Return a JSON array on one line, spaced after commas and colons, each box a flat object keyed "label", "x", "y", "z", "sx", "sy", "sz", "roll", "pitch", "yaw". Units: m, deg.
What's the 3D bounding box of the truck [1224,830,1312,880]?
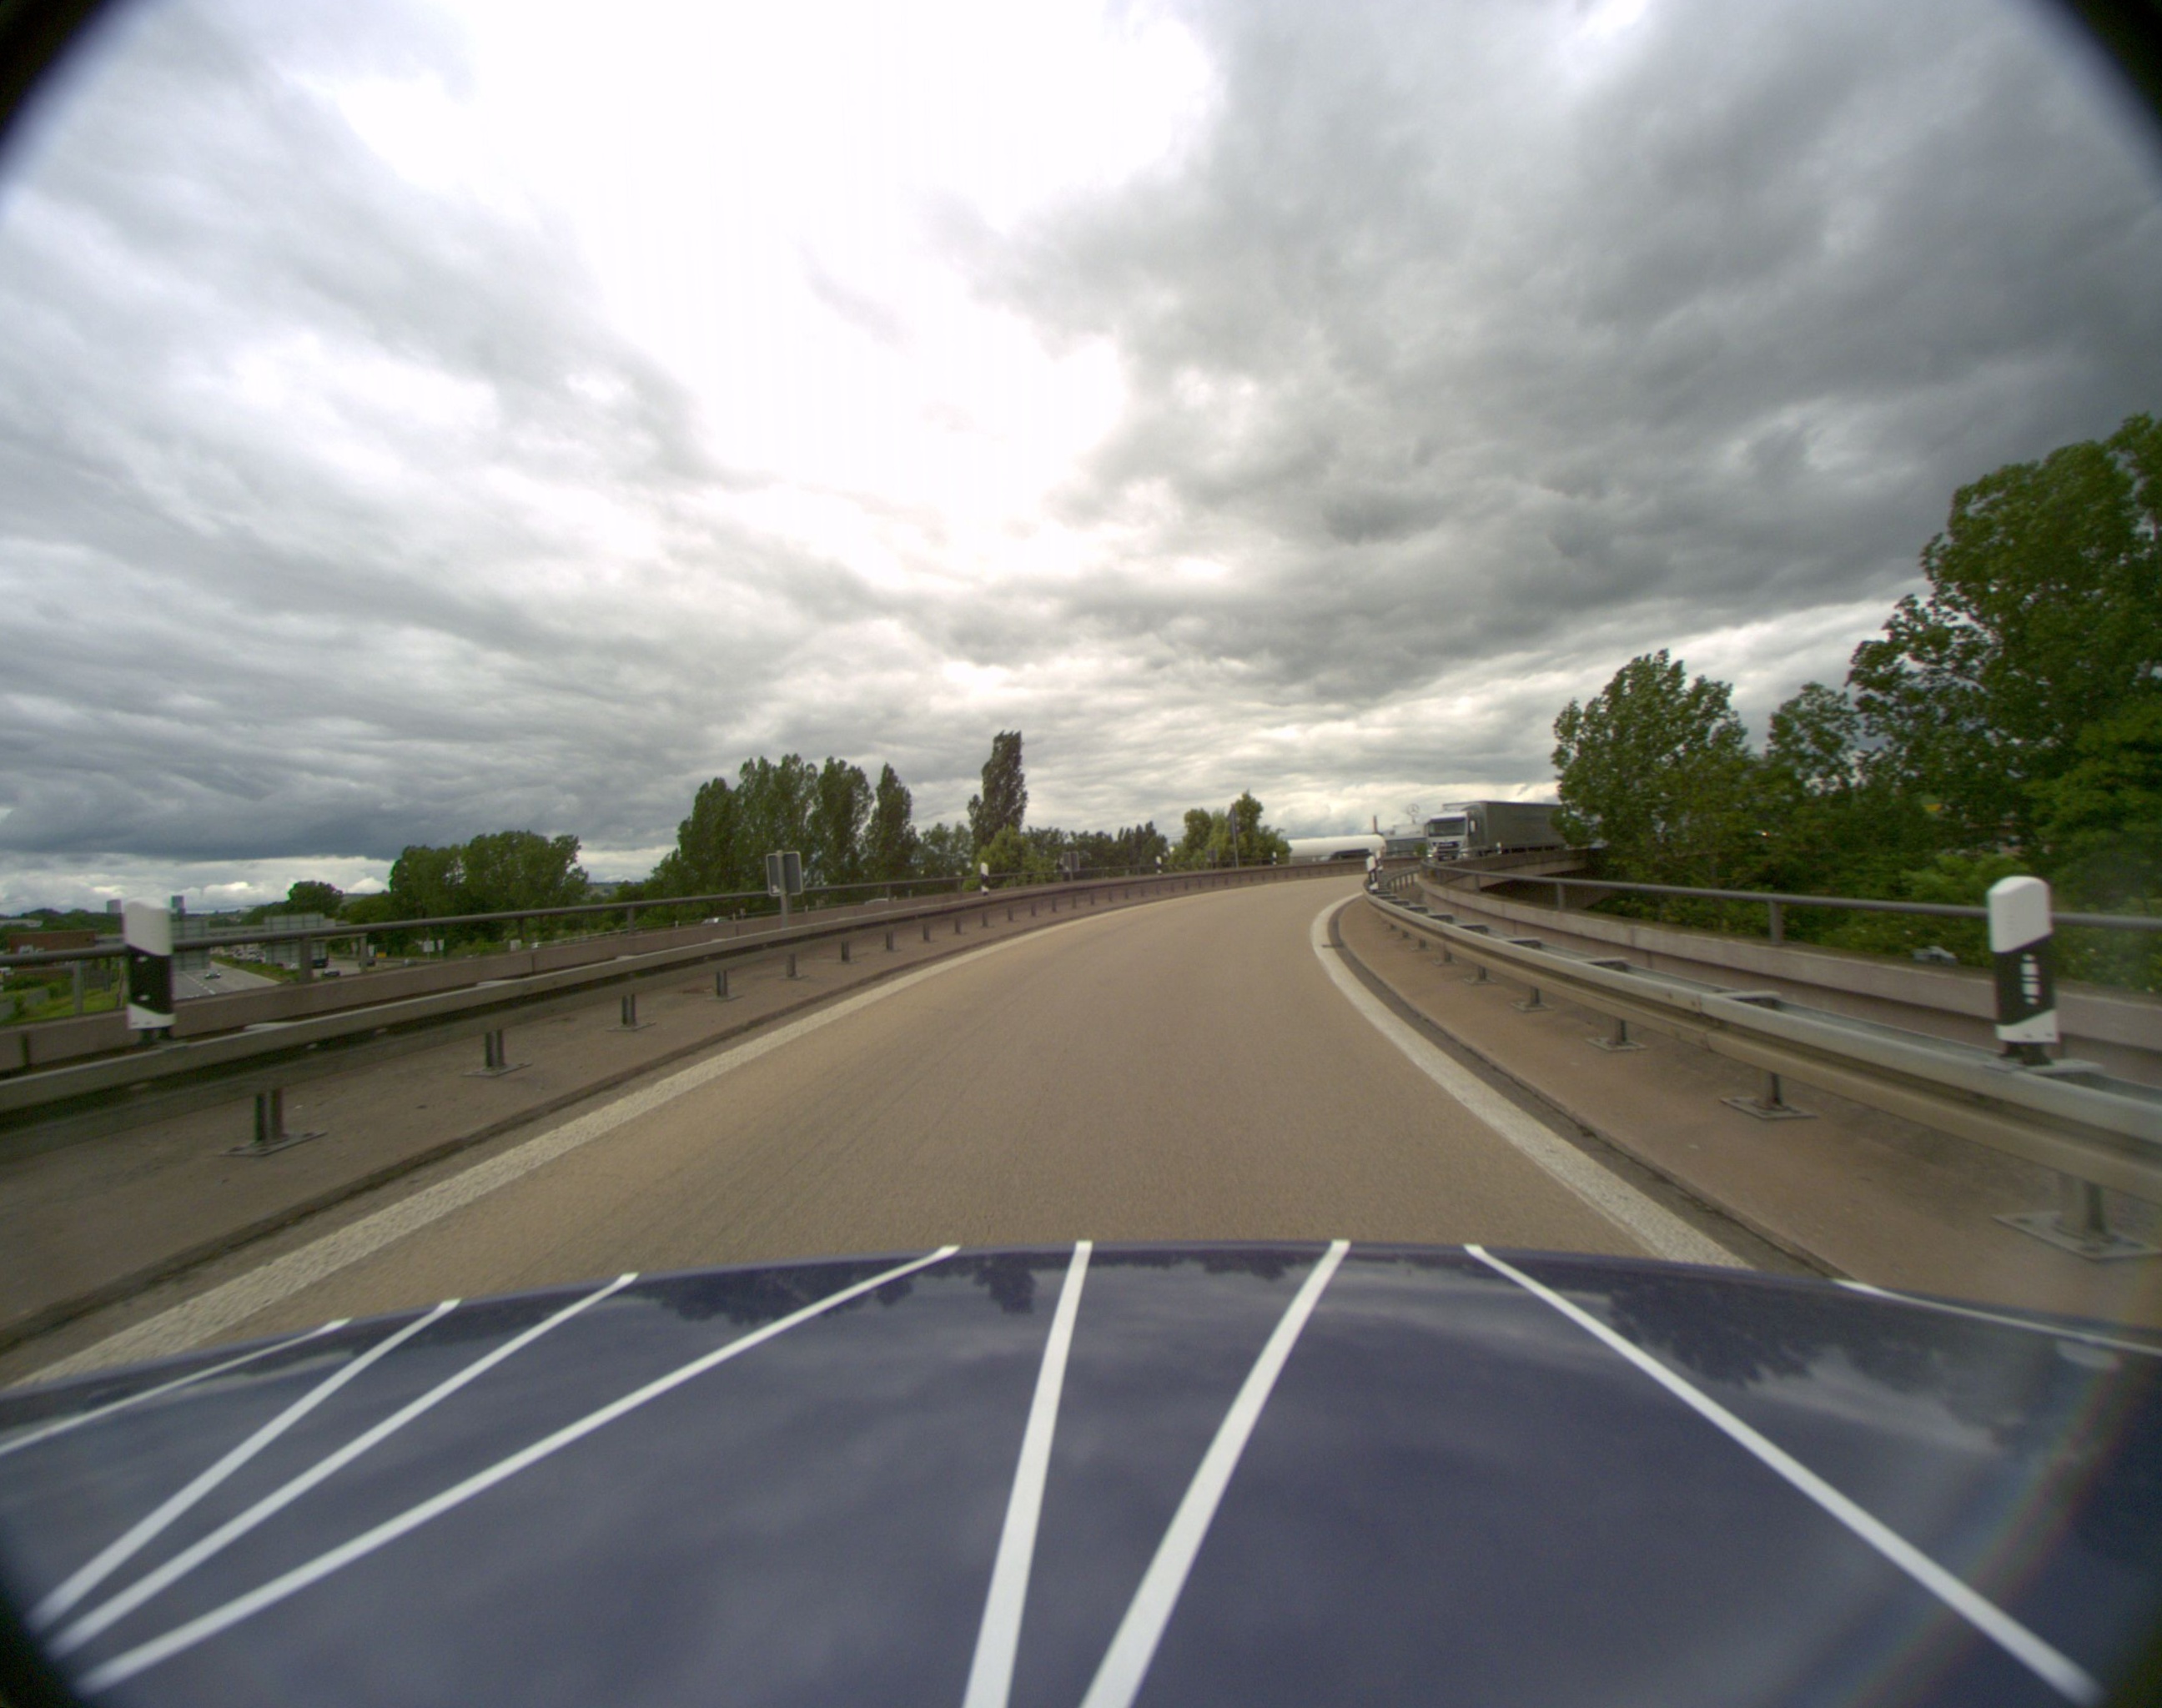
[{"label": "truck", "x": 15.080, "y": 0.066, "z": 61.456, "sx": 6.205, "sy": 3.624, "sz": 2.733, "roll": -3, "pitch": 0, "yaw": -18}]

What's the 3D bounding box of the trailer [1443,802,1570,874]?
[{"label": "trailer", "x": 28.377, "y": -1.161, "z": 50.174, "sx": 13.472, "sy": 4.212, "sz": 2.742, "roll": -3, "pitch": 0, "yaw": -41}]

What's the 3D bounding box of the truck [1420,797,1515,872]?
[{"label": "truck", "x": 23.383, "y": -1.190, "z": 45.862, "sx": 6.212, "sy": 4.203, "sz": 2.730, "roll": -3, "pitch": 0, "yaw": -41}]

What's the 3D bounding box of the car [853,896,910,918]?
[{"label": "car", "x": -15.784, "y": 4.200, "z": 60.117, "sx": 3.927, "sy": 1.400, "sz": 1.794, "roll": -7, "pitch": -4, "yaw": 20}]

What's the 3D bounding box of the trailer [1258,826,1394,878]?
[{"label": "trailer", "x": 20.372, "y": -0.183, "z": 63.072, "sx": 11.012, "sy": 3.628, "sz": 2.745, "roll": -3, "pitch": 0, "yaw": -18}]

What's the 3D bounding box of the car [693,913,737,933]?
[{"label": "car", "x": -33.452, "y": 6.310, "z": 69.469, "sx": 3.991, "sy": 1.470, "sz": 1.741, "roll": -7, "pitch": -4, "yaw": 33}]
